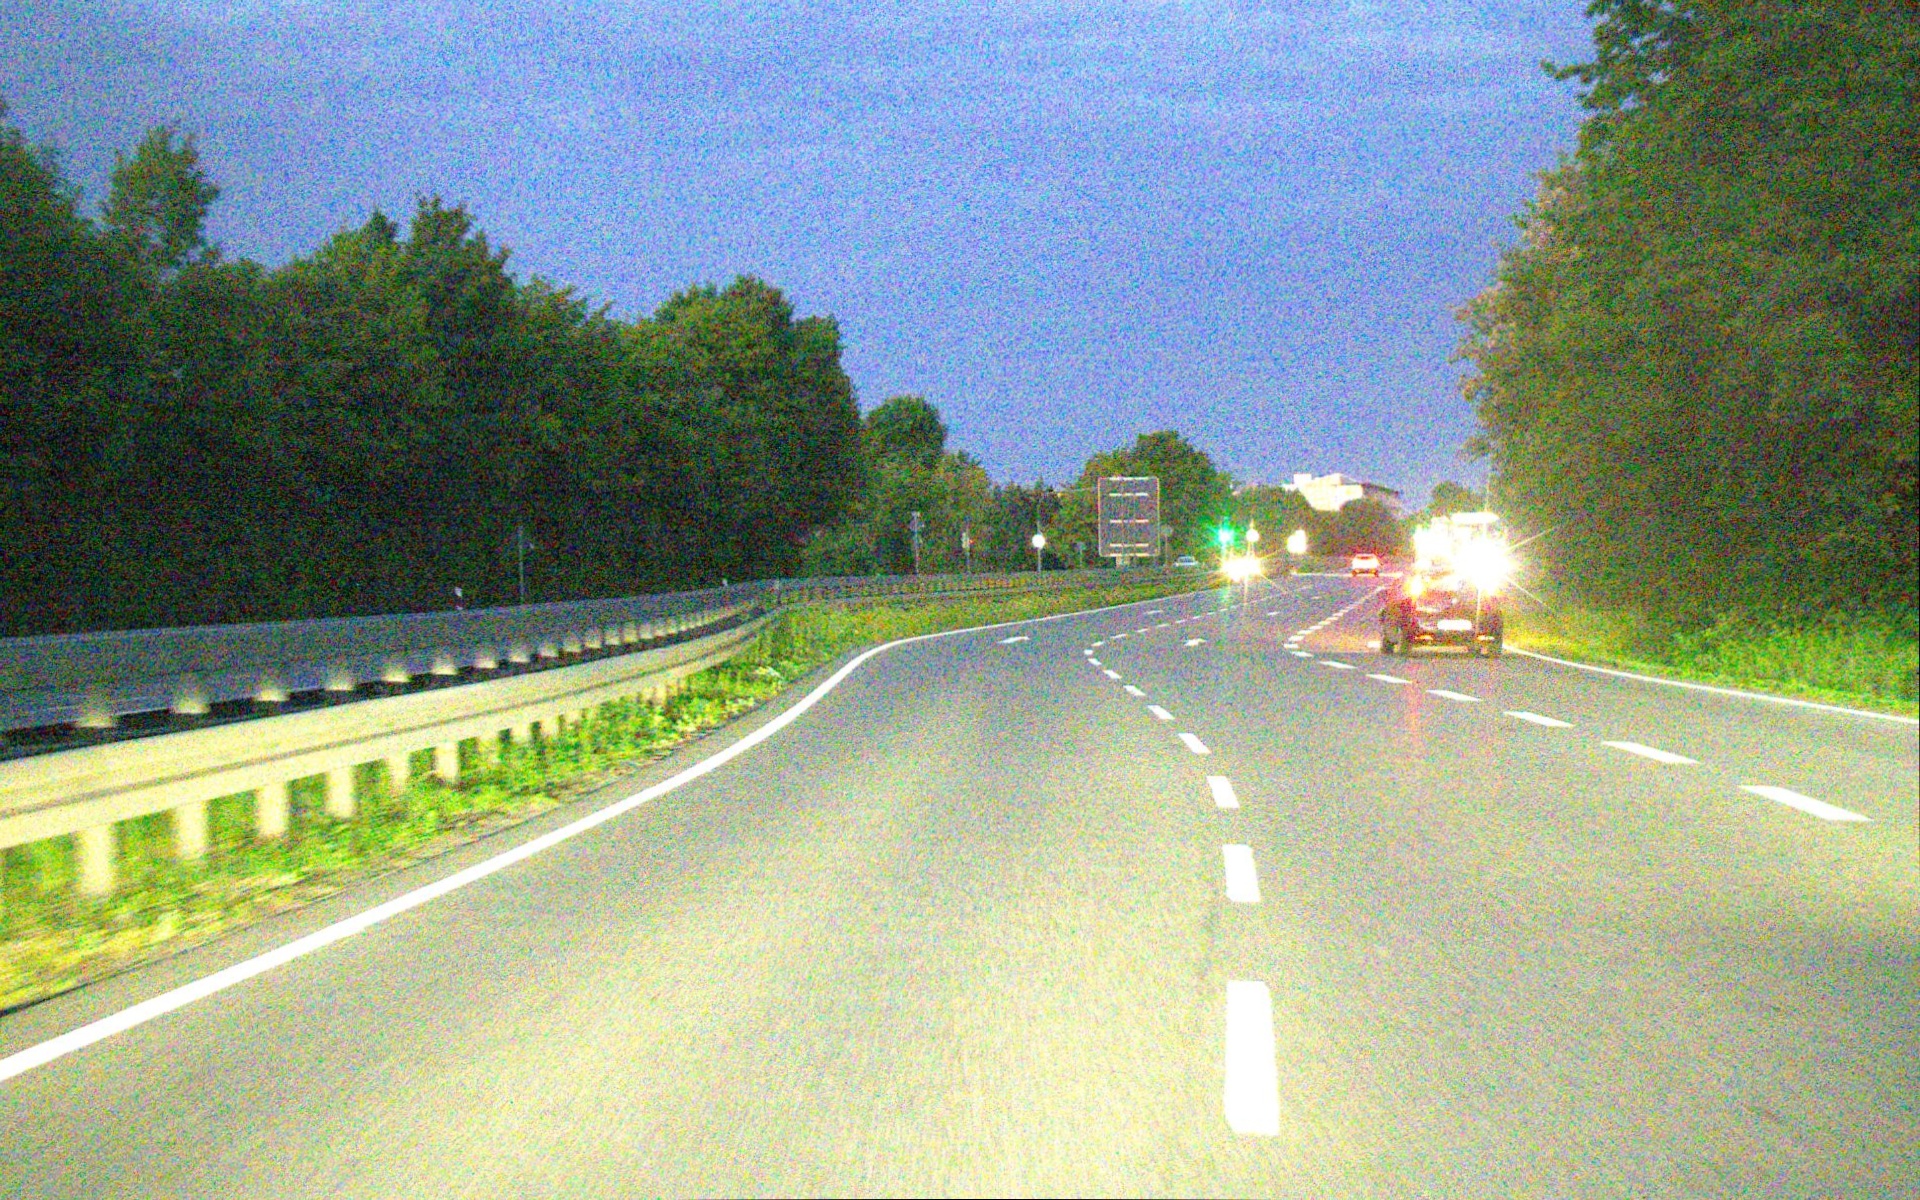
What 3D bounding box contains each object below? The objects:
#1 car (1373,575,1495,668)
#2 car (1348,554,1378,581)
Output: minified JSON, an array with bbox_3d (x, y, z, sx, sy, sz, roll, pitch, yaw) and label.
[{"bbox_3d":[7.778,0.323,56.707,1.753,1.448,4.432,0,1,5],"label":"car"},{"bbox_3d":[28.706,-2.328,244.936,1.994,1.744,3.999,-4,-1,6],"label":"car"}]
